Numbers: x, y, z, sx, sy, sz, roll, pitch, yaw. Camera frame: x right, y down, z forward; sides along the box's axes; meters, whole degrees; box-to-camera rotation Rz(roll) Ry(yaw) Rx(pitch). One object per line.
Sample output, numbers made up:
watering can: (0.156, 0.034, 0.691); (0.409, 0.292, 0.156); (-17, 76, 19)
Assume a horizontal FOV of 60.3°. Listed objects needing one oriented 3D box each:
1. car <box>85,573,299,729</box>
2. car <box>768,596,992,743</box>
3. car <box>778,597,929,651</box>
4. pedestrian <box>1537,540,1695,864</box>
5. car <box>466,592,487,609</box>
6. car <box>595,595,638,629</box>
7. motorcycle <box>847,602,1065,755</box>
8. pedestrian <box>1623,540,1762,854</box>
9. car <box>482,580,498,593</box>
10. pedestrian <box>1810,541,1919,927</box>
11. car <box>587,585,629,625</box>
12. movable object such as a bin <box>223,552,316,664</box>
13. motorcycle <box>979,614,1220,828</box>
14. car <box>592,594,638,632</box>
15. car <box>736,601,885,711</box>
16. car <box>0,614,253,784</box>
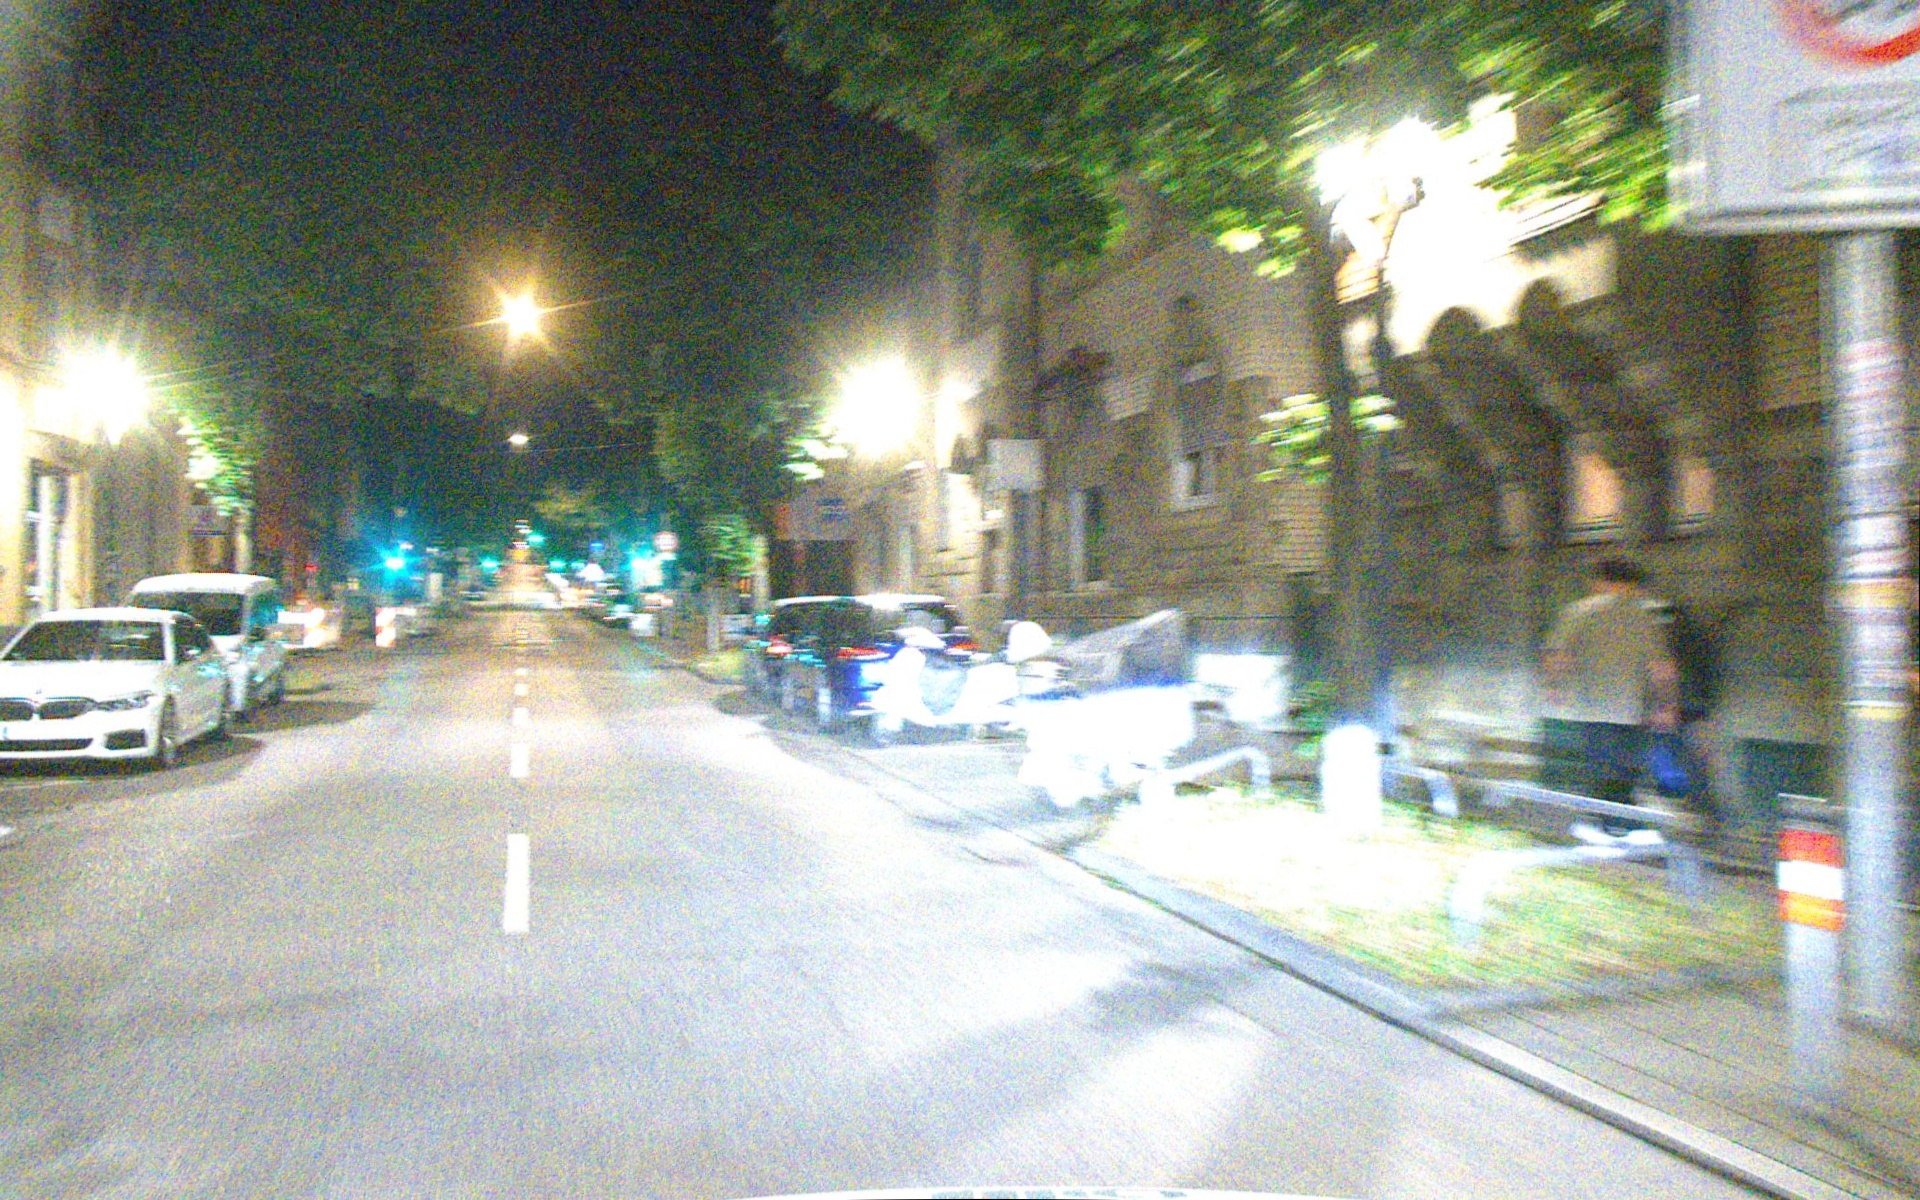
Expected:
car: (-10.243, 0.619, 22.423); (1.852, 1.875, 4.794); (0, 0, -16)
car: (-1.075, 0.737, 19.642); (1.704, 1.527, 4.448); (0, 0, -16)
car: (-3.030, 0.693, 46.830); (3.950, 1.447, 1.843); (0, -2, -17)
pedestrian: (3.664, 0.546, 9.275); (0.498, 1.739, 0.702); (0, 0, -14)
car: (-42.093, 0.018, 144.108); (1.643, 1.468, 4.188); (0, 1, -15)
car: (-15.729, 0.521, 75.550); (1.658, 1.445, 4.426); (-1, 0, -15)
motorcycle: (-0.043, 0.766, 17.009); (2.026, 1.431, 0.917); (-2, 1, -25)
pedestrian: (4.207, 0.535, 9.515); (0.468, 1.739, 0.569); (0, 0, -14)
car: (-60.699, -1.764, 213.623); (1.842, 1.571, 4.188); (0, 1, -15)
pedestrian: (4.478, 0.579, 7.382); (0.792, 1.659, 0.963); (0, -1, -11)
car: (-17.322, 0.229, 81.322); (1.707, 1.887, 4.297); (-1, 0, -16)
movable object such as a bin: (-17.430, 0.183, 41.914); (1.545, 2.672, 3.895); (-1, 0, -14)
motorcycle: (1.035, 0.800, 11.822); (0.748, 1.377, 1.935); (-1, 0, 39)
car: (-14.791, 0.516, 70.830); (1.711, 1.503, 3.985); (-3, 1, -14)
car: (-2.306, 0.760, 24.628); (1.706, 1.479, 3.987); (-1, 0, -13)
car: (-8.640, 0.889, 16.892); (1.808, 1.475, 4.863); (1, -1, -14)
